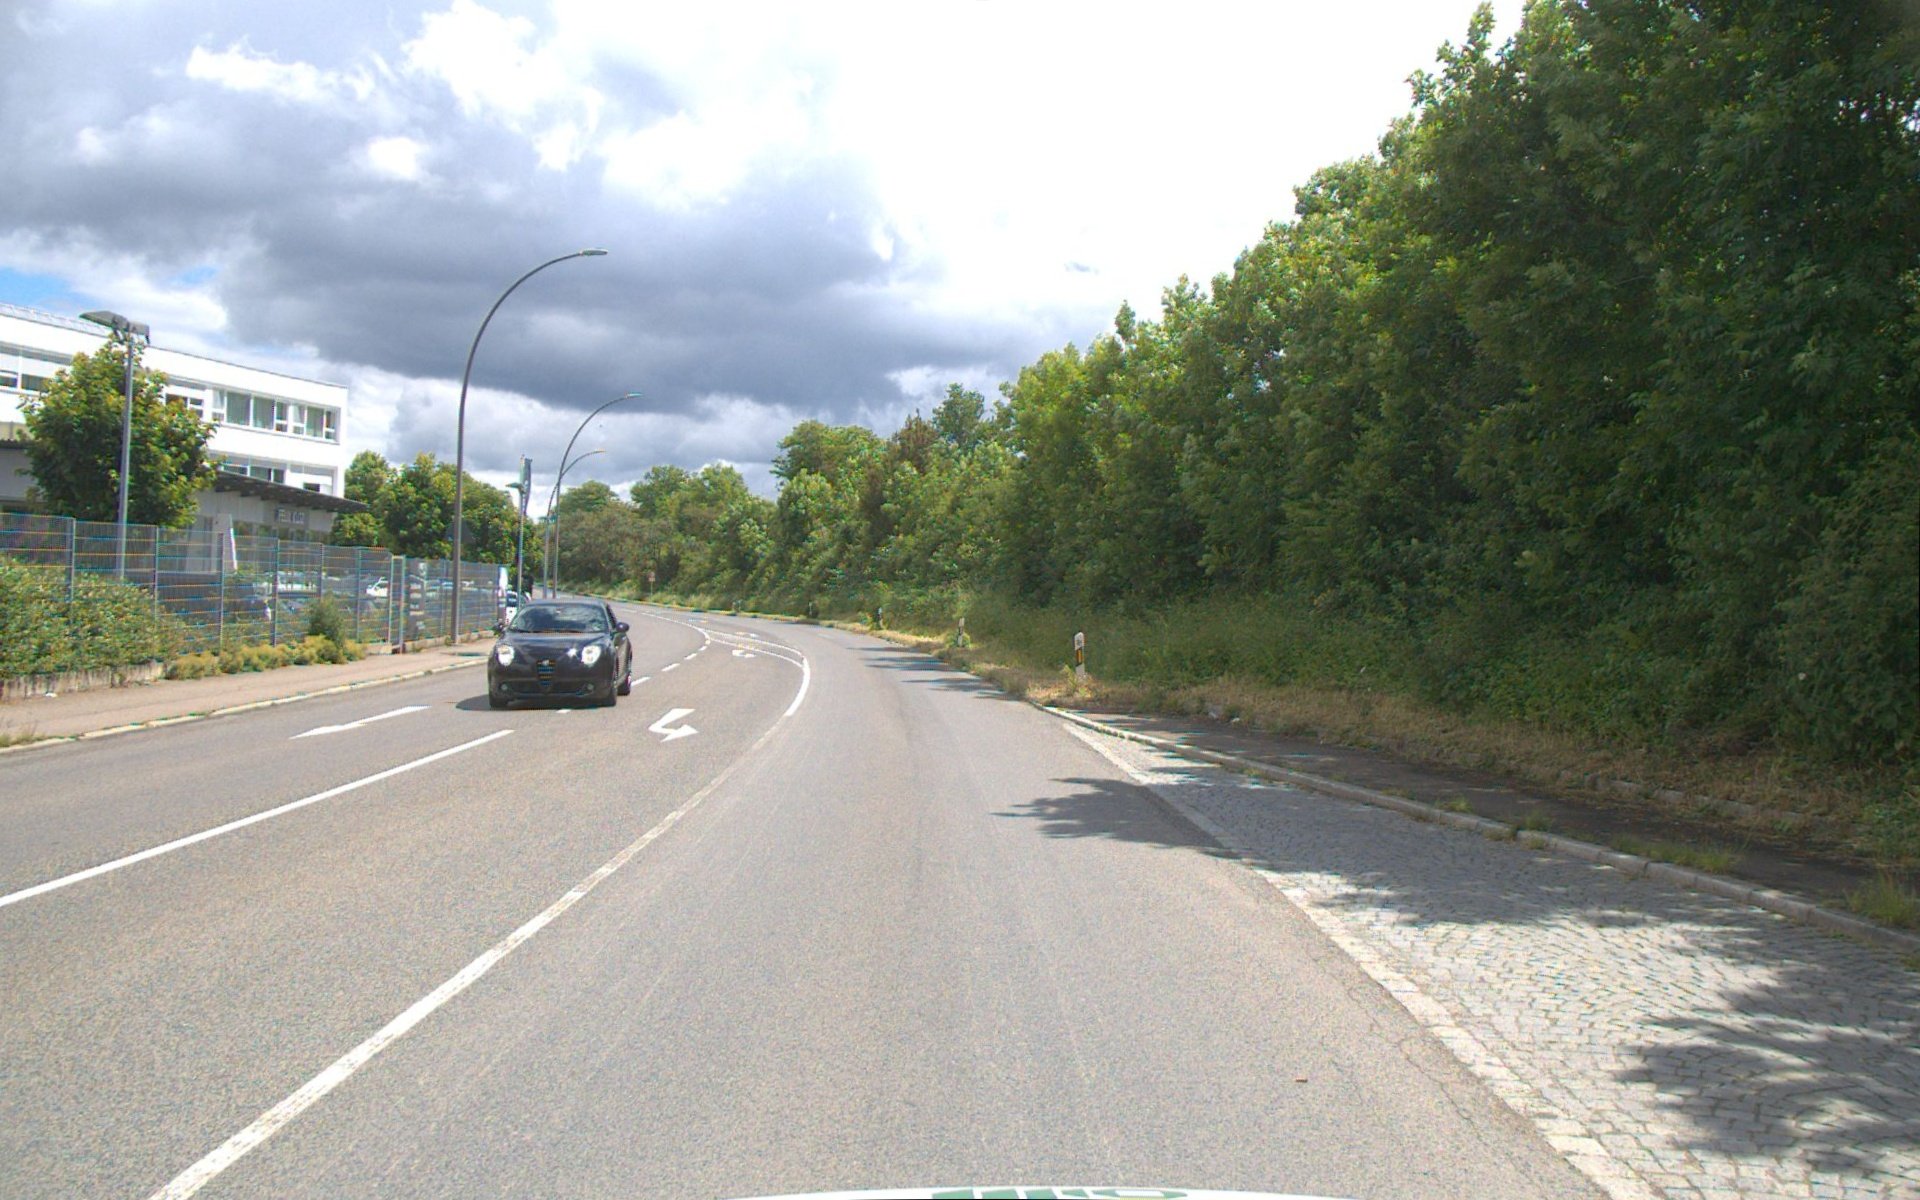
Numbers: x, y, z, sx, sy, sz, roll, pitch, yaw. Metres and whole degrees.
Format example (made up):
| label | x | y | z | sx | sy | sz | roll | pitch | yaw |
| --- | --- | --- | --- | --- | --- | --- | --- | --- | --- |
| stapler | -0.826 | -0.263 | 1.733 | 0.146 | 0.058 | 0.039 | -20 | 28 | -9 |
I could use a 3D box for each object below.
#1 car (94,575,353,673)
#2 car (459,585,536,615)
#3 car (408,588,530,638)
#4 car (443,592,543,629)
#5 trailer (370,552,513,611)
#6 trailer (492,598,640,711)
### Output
| label | x | y | z | sx | sy | sz | roll | pitch | yaw |
| --- | --- | --- | --- | --- | --- | --- | --- | --- | --- |
| car | -14.512 | 0.471 | 32.800 | 4.108 | 1.730 | 2.172 | 2 | 0 | -3 |
| car | -29.539 | 0.009 | 105.734 | 1.966 | 1.793 | 4.285 | 2 | -1 | 44 |
| car | -18.694 | 0.492 | 63.007 | 3.892 | 1.730 | 2.174 | 2 | 0 | 20 |
| car | -21.316 | 0.478 | 75.496 | 4.104 | 1.505 | 1.796 | 2 | 0 | 20 |
| trailer | -37.763 | -1.321 | 120.696 | 9.625 | 4.165 | 2.796 | 0 | 1 | -32 |
| trailer | -5.509 | 0.708 | 23.537 | 1.616 | 1.448 | 3.993 | 1 | 0 | -7 |
